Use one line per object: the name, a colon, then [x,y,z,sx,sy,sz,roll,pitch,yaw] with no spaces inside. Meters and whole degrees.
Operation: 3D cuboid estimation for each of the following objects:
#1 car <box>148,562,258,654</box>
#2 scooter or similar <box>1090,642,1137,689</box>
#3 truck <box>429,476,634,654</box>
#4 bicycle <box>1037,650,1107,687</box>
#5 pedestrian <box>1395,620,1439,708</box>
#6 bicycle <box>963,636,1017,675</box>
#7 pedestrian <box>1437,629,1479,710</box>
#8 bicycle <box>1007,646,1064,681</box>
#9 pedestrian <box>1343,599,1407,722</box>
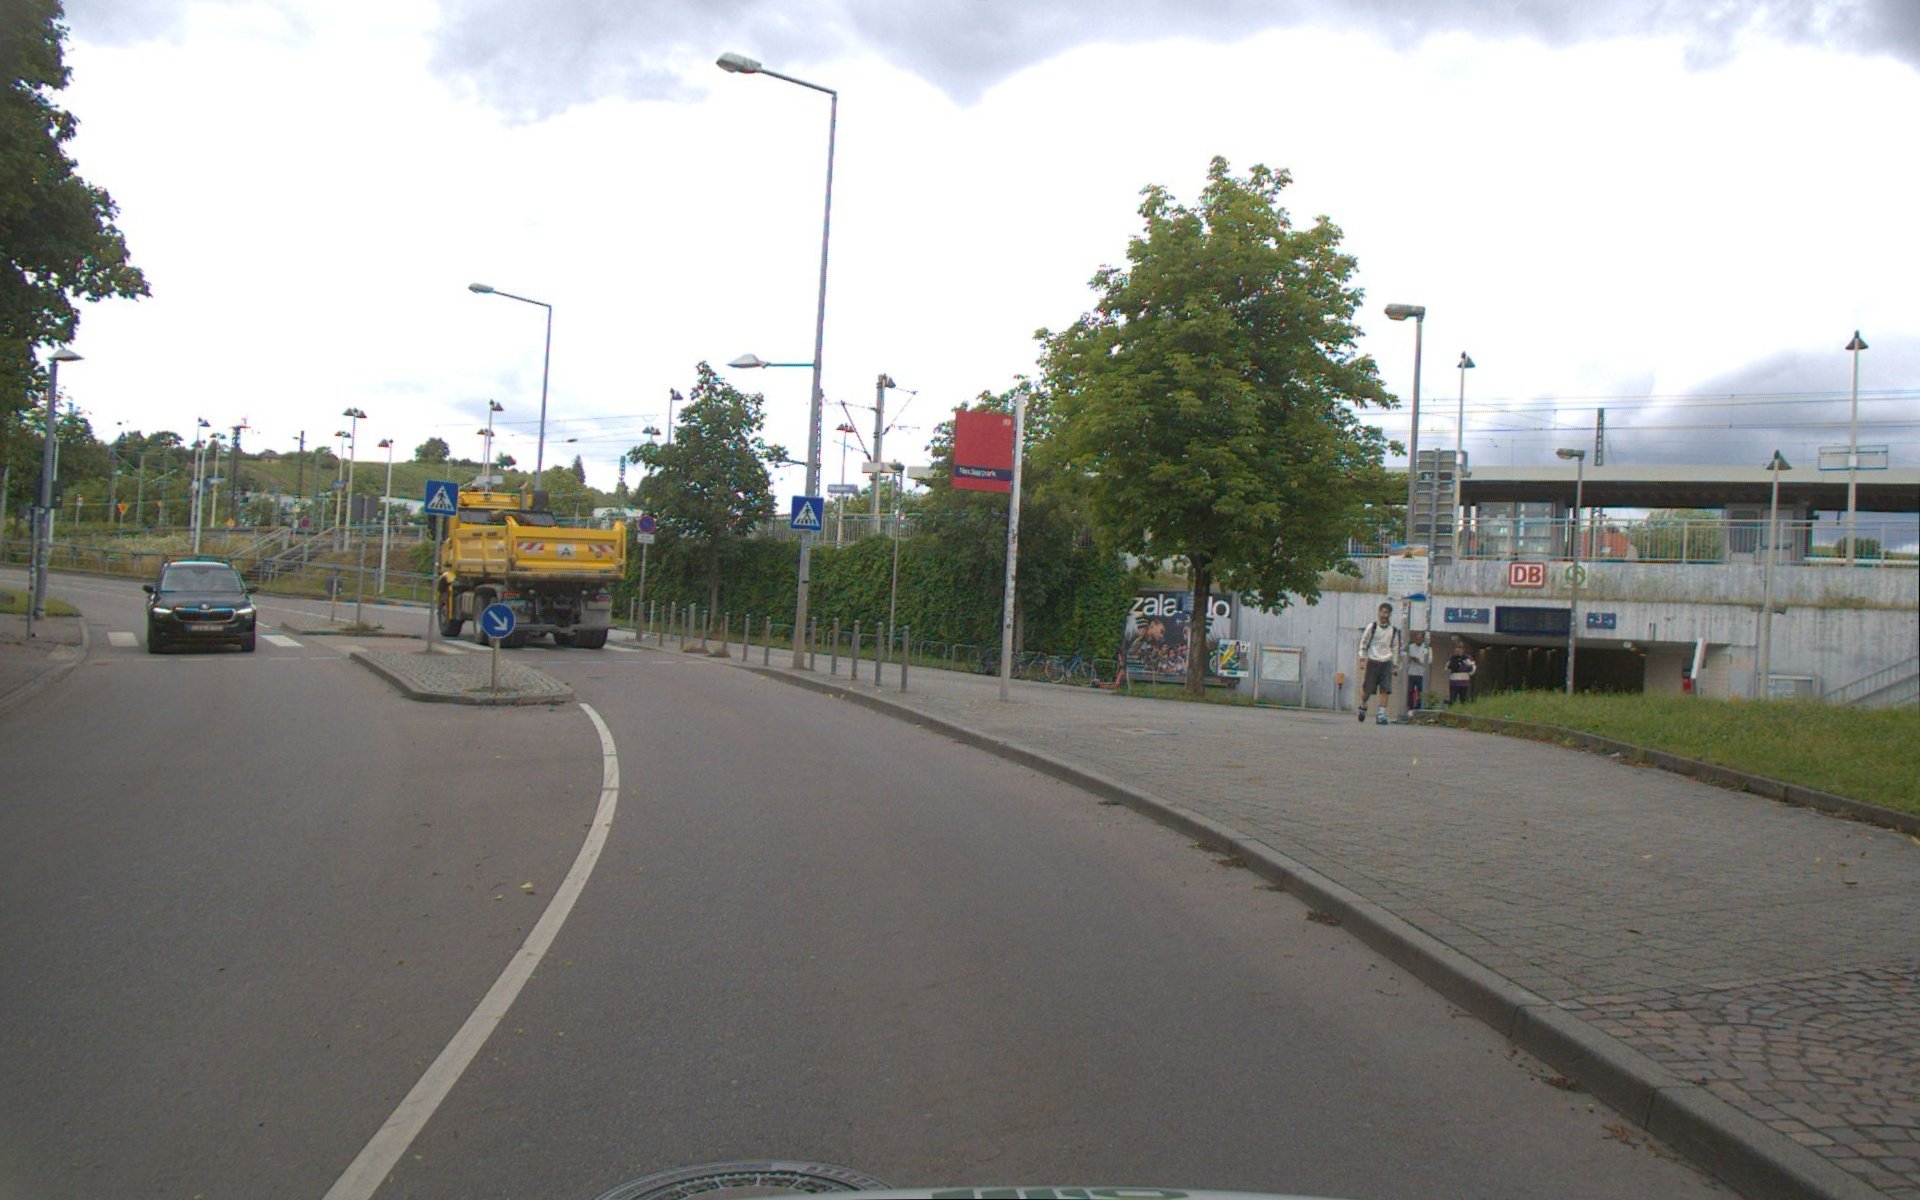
car: [-14.401,0.109,31.562,1.779,1.638,4.145,0,1,-24]
scooter or similar: [4.384,1.878,47.269,1.170,1.227,0.465,6,-2,-20]
truck: [-10.050,-0.871,38.061,2.732,3.543,8.059,3,1,-27]
bicycle: [3.282,2.004,48.400,1.940,0.880,0.507,7,-2,-24]
pedestrian: [9.245,1.299,33.434,0.797,1.732,0.749,2,-2,16]
bicycle: [0.894,1.666,49.532,1.459,1.006,0.693,5,-1,-6]
pedestrian: [10.291,1.437,34.184,0.783,1.611,0.802,2,-2,16]
bicycle: [2.246,1.893,49.205,1.552,0.869,0.461,6,-2,-20]
pedestrian: [5.980,0.879,23.868,0.830,1.714,0.941,1,-3,13]
